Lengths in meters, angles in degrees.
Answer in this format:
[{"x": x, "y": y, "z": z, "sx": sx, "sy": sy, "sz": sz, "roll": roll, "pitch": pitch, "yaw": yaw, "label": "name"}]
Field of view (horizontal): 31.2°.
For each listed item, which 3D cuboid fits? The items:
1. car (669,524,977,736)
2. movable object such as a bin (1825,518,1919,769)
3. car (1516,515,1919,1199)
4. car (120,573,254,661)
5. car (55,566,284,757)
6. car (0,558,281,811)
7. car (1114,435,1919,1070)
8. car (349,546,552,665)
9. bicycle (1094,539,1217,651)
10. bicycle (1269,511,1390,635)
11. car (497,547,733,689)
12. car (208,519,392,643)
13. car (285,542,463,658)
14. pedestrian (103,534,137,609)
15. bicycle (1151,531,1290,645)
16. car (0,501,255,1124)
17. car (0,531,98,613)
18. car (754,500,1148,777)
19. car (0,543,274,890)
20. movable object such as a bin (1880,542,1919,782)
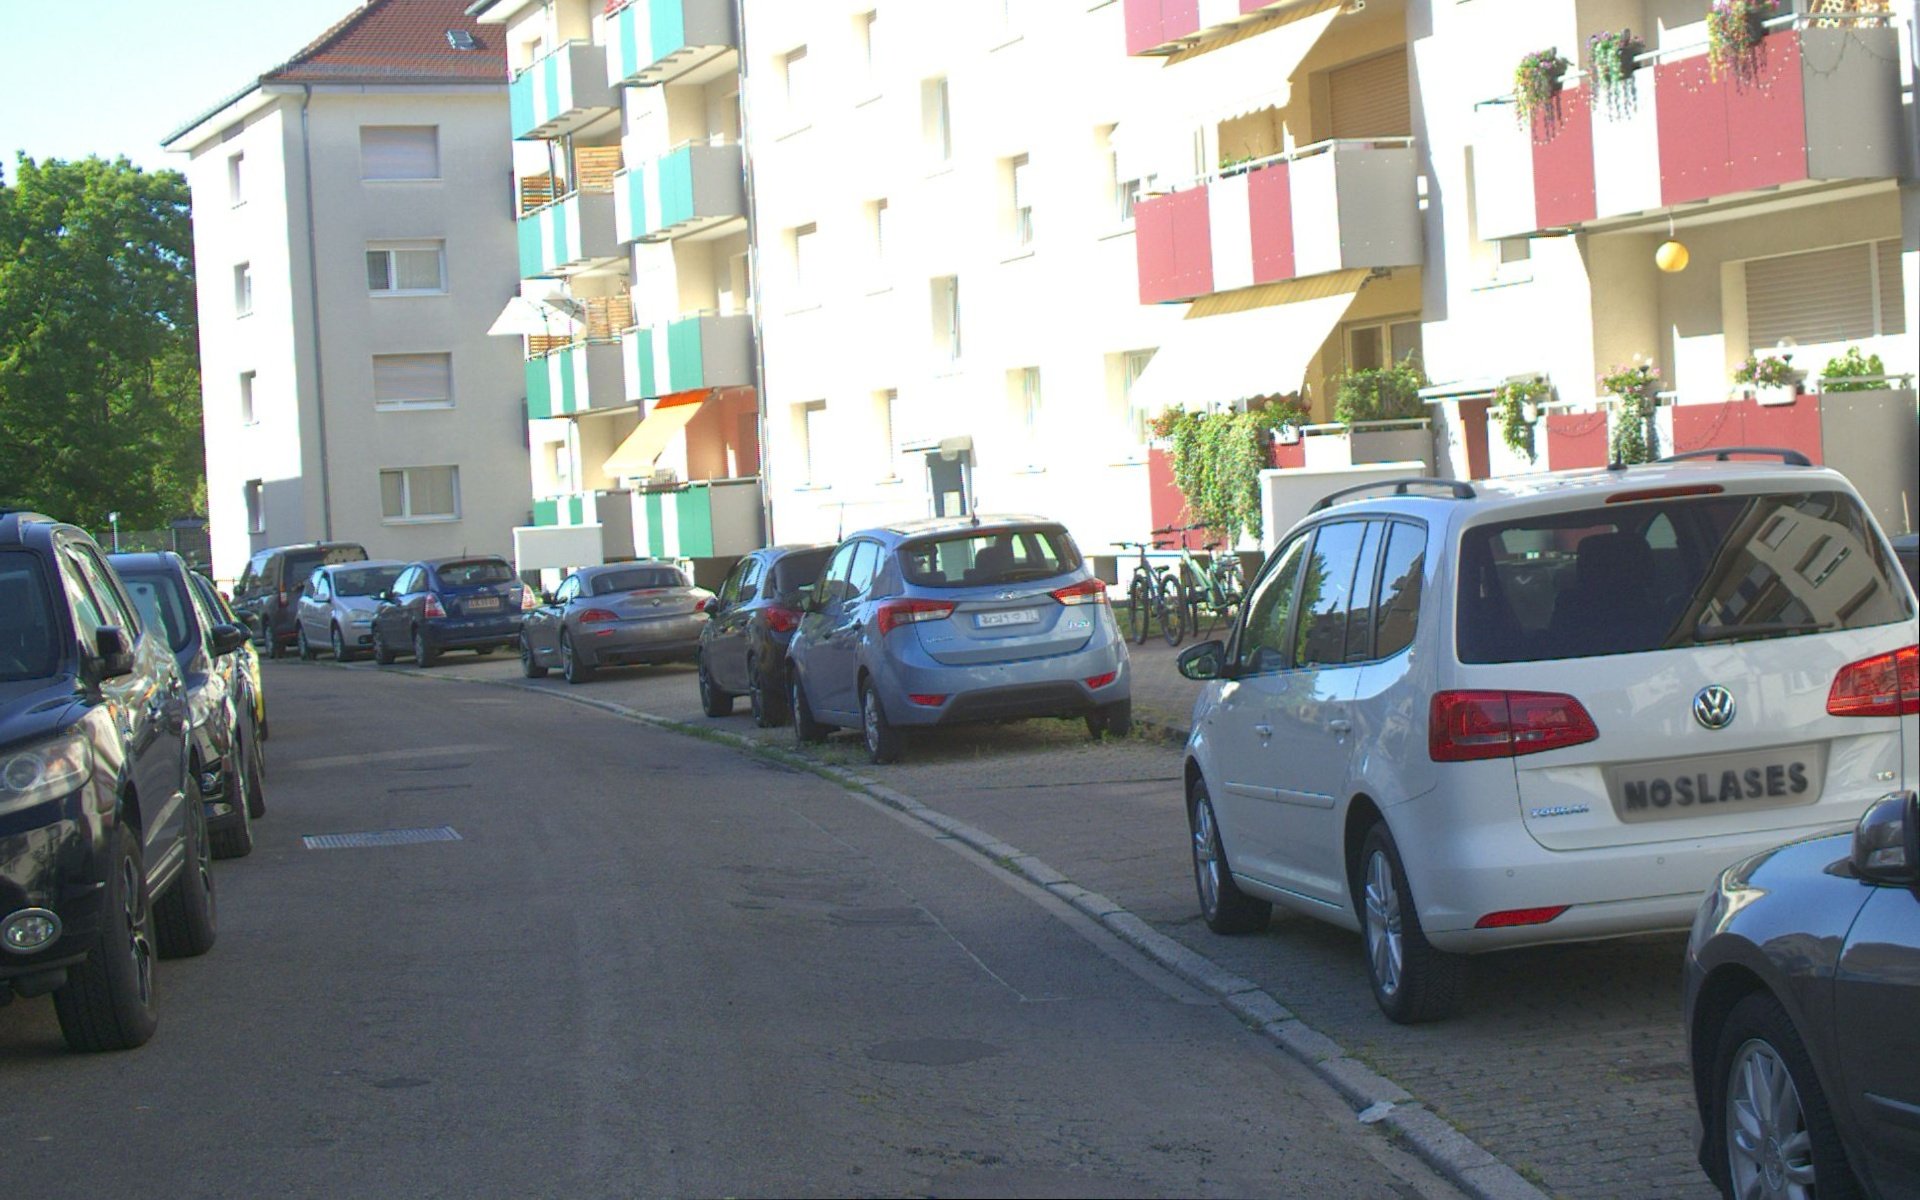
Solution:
[{"x": -1.245, "y": 0.203, "z": 29.432, "sx": 1.735, "sy": 1.503, "sz": 3.887, "roll": -7, "pitch": 3, "yaw": -14, "label": "car"}, {"x": 4.433, "y": 0.181, "z": 15.886, "sx": 0.583, "sy": 1.091, "sz": 0.683, "roll": -6, "pitch": 2, "yaw": -2, "label": "movable object such as a bin"}, {"x": 2.427, "y": 0.576, "z": 5.094, "sx": 1.693, "sy": 1.426, "sz": 4.689, "roll": -6, "pitch": 2, "yaw": -8, "label": "car"}, {"x": -15.164, "y": 0.306, "z": 67.303, "sx": 1.717, "sy": 1.359, "sz": 4.056, "roll": -6, "pitch": 5, "yaw": -23, "label": "car"}, {"x": -6.905, "y": 0.477, "z": 29.922, "sx": 1.693, "sy": 1.384, "sz": 4.158, "roll": -5, "pitch": 2, "yaw": -14, "label": "car"}, {"x": -5.855, "y": 0.526, "z": 24.468, "sx": 1.693, "sy": 1.440, "sz": 4.021, "roll": -6, "pitch": 3, "yaw": -14, "label": "car"}, {"x": 1.823, "y": 0.400, "z": 11.914, "sx": 1.693, "sy": 1.650, "sz": 4.391, "roll": -5, "pitch": 1, "yaw": -7, "label": "car"}, {"x": -7.237, "y": 0.077, "z": 48.478, "sx": 1.737, "sy": 1.426, "sz": 4.357, "roll": -6, "pitch": 2, "yaw": -22, "label": "car"}, {"x": 1.881, "y": -0.055, "z": 33.349, "sx": 0.497, "sy": 1.016, "sz": 1.842, "roll": -6, "pitch": 2, "yaw": -17, "label": "bicycle"}, {"x": 3.604, "y": -0.263, "z": 33.688, "sx": 0.407, "sy": 1.146, "sz": 1.763, "roll": -6, "pitch": 2, "yaw": -17, "label": "bicycle"}, {"x": -4.032, "y": 0.170, "z": 39.609, "sx": 1.685, "sy": 1.358, "sz": 4.241, "roll": -7, "pitch": 3, "yaw": -18, "label": "car"}, {"x": -11.087, "y": -0.288, "z": 57.551, "sx": 1.896, "sy": 1.849, "sz": 4.344, "roll": -5, "pitch": 1, "yaw": -25, "label": "car"}, {"x": -9.048, "y": -0.008, "z": 52.871, "sx": 1.681, "sy": 1.582, "sz": 4.013, "roll": -5, "pitch": 2, "yaw": -23, "label": "car"}, {"x": -20.951, "y": -0.708, "z": 85.767, "sx": 0.654, "sy": 1.809, "sz": 0.614, "roll": -6, "pitch": 2, "yaw": -14, "label": "pedestrian"}, {"x": 2.519, "y": -0.130, "z": 33.470, "sx": 0.617, "sy": 0.974, "sz": 1.896, "roll": -8, "pitch": 4, "yaw": -16, "label": "bicycle"}, {"x": -3.468, "y": 0.625, "z": 11.655, "sx": 1.555, "sy": 1.708, "sz": 4.338, "roll": -7, "pitch": 2, "yaw": -7, "label": "car"}, {"x": -21.924, "y": -0.657, "z": 82.123, "sx": 1.765, "sy": 1.733, "sz": 4.095, "roll": -6, "pitch": 2, "yaw": -24, "label": "car"}, {"x": -0.165, "y": 0.190, "z": 24.503, "sx": 1.765, "sy": 1.629, "sz": 4.043, "roll": -6, "pitch": 3, "yaw": -13, "label": "car"}, {"x": -4.672, "y": 0.543, "z": 18.504, "sx": 1.693, "sy": 1.555, "sz": 4.158, "roll": -5, "pitch": 2, "yaw": -10, "label": "car"}, {"x": 4.492, "y": 0.248, "z": 15.116, "sx": 0.583, "sy": 1.052, "sz": 0.641, "roll": -7, "pitch": 0, "yaw": -2, "label": "movable object such as a bin"}]
